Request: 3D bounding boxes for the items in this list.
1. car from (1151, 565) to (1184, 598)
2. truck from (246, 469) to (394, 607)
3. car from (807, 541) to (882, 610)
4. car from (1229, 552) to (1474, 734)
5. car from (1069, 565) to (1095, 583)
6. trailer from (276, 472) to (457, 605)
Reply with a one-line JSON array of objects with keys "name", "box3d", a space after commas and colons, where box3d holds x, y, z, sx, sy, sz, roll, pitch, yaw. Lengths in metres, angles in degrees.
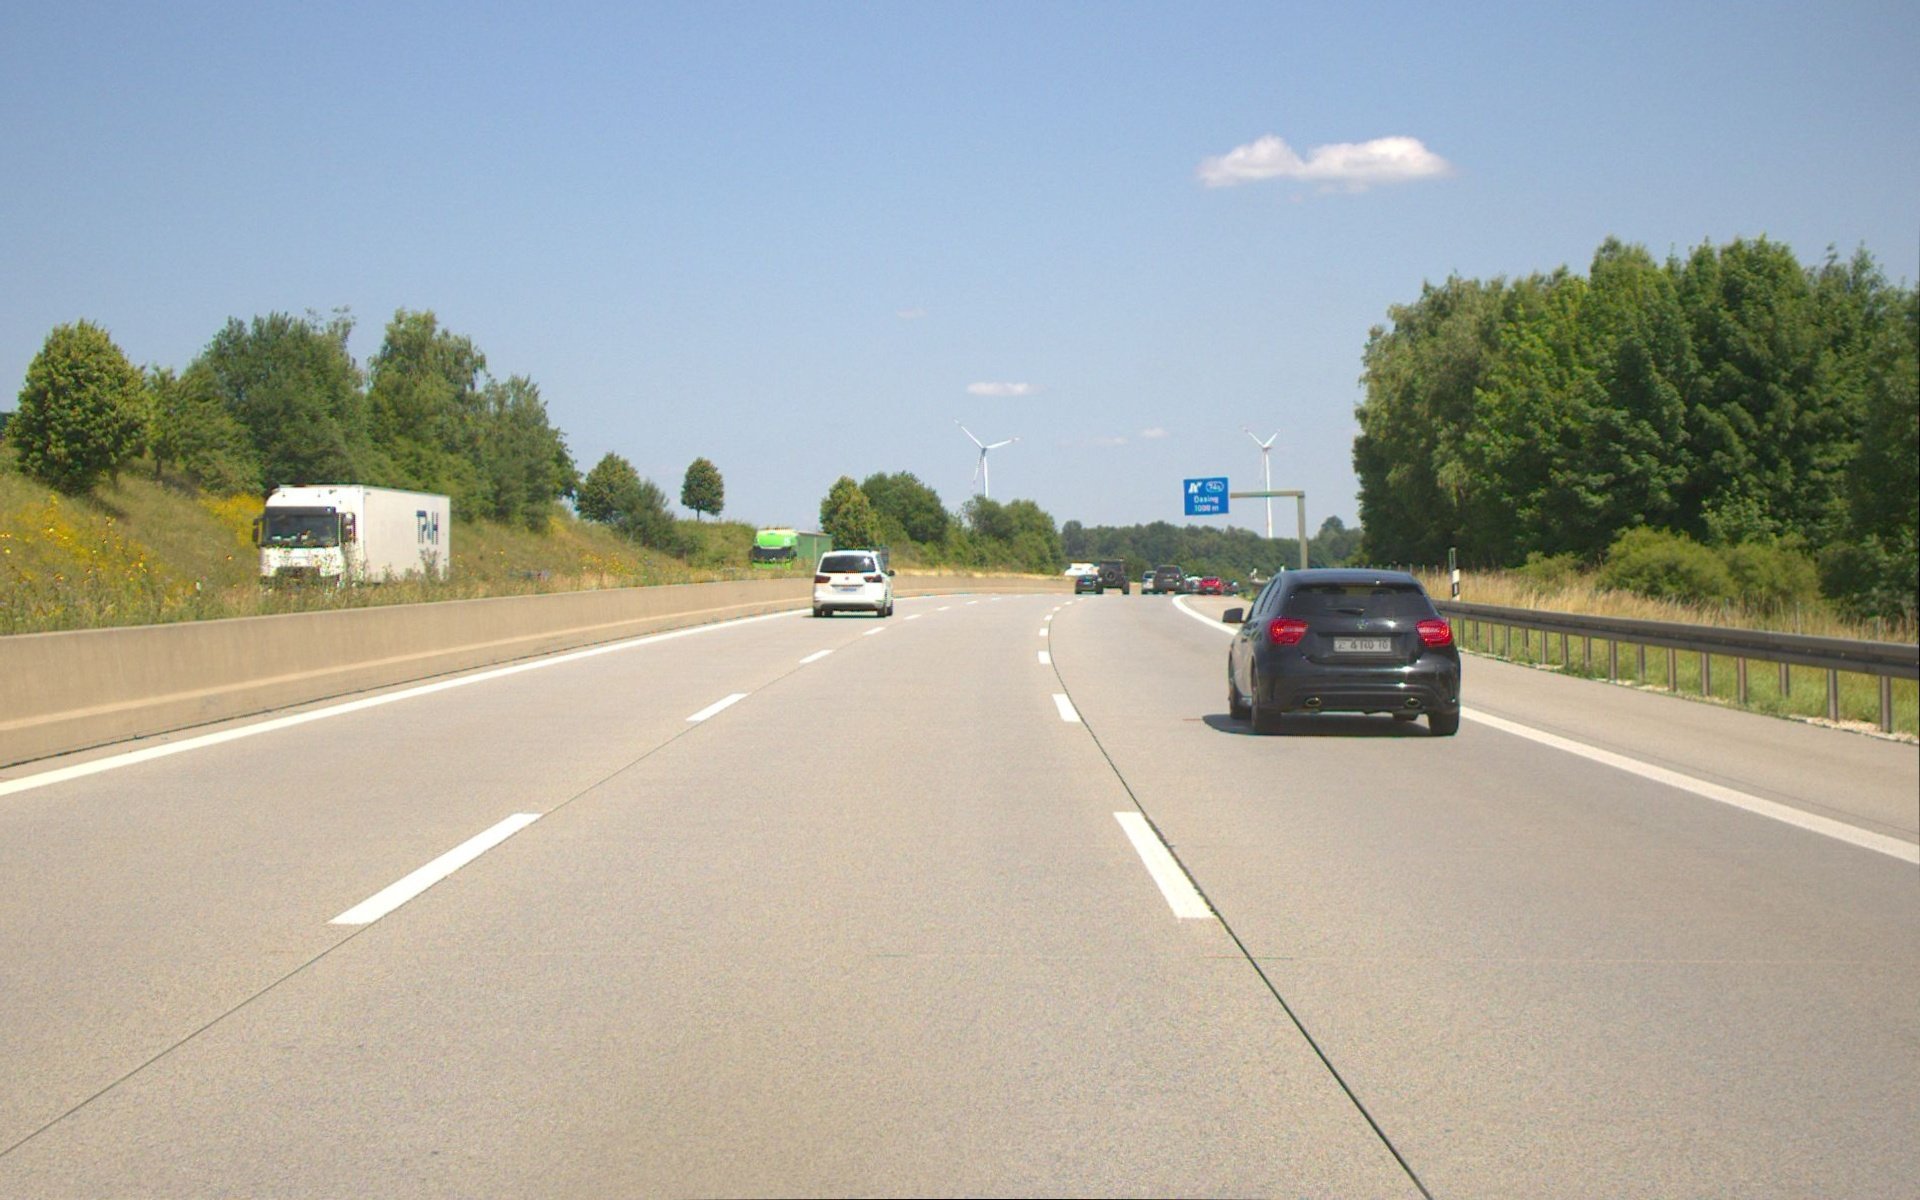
[{"name": "car", "box3d": [11.914, -1.064, 197.424, 1.827, 1.900, 4.000, 0, 1, 3]}, {"name": "truck", "box3d": [-19.410, -1.889, 104.656, 2.991, 4.046, 6.869, 0, 1, 2]}, {"name": "car", "box3d": [-2.958, -0.636, 88.754, 1.845, 1.702, 6.036, 0, 0, -2]}, {"name": "car", "box3d": [3.444, 0.330, 30.910, 1.910, 1.487, 4.191, 1, 1, 3]}, {"name": "car", "box3d": [8.882, -1.912, 250.329, 1.655, 1.192, 3.960, 2, 1, -1]}, {"name": "trailer", "box3d": [-19.186, -1.996, 112.185, 3.005, 4.046, 14.177, 0, 1, 2]}]
